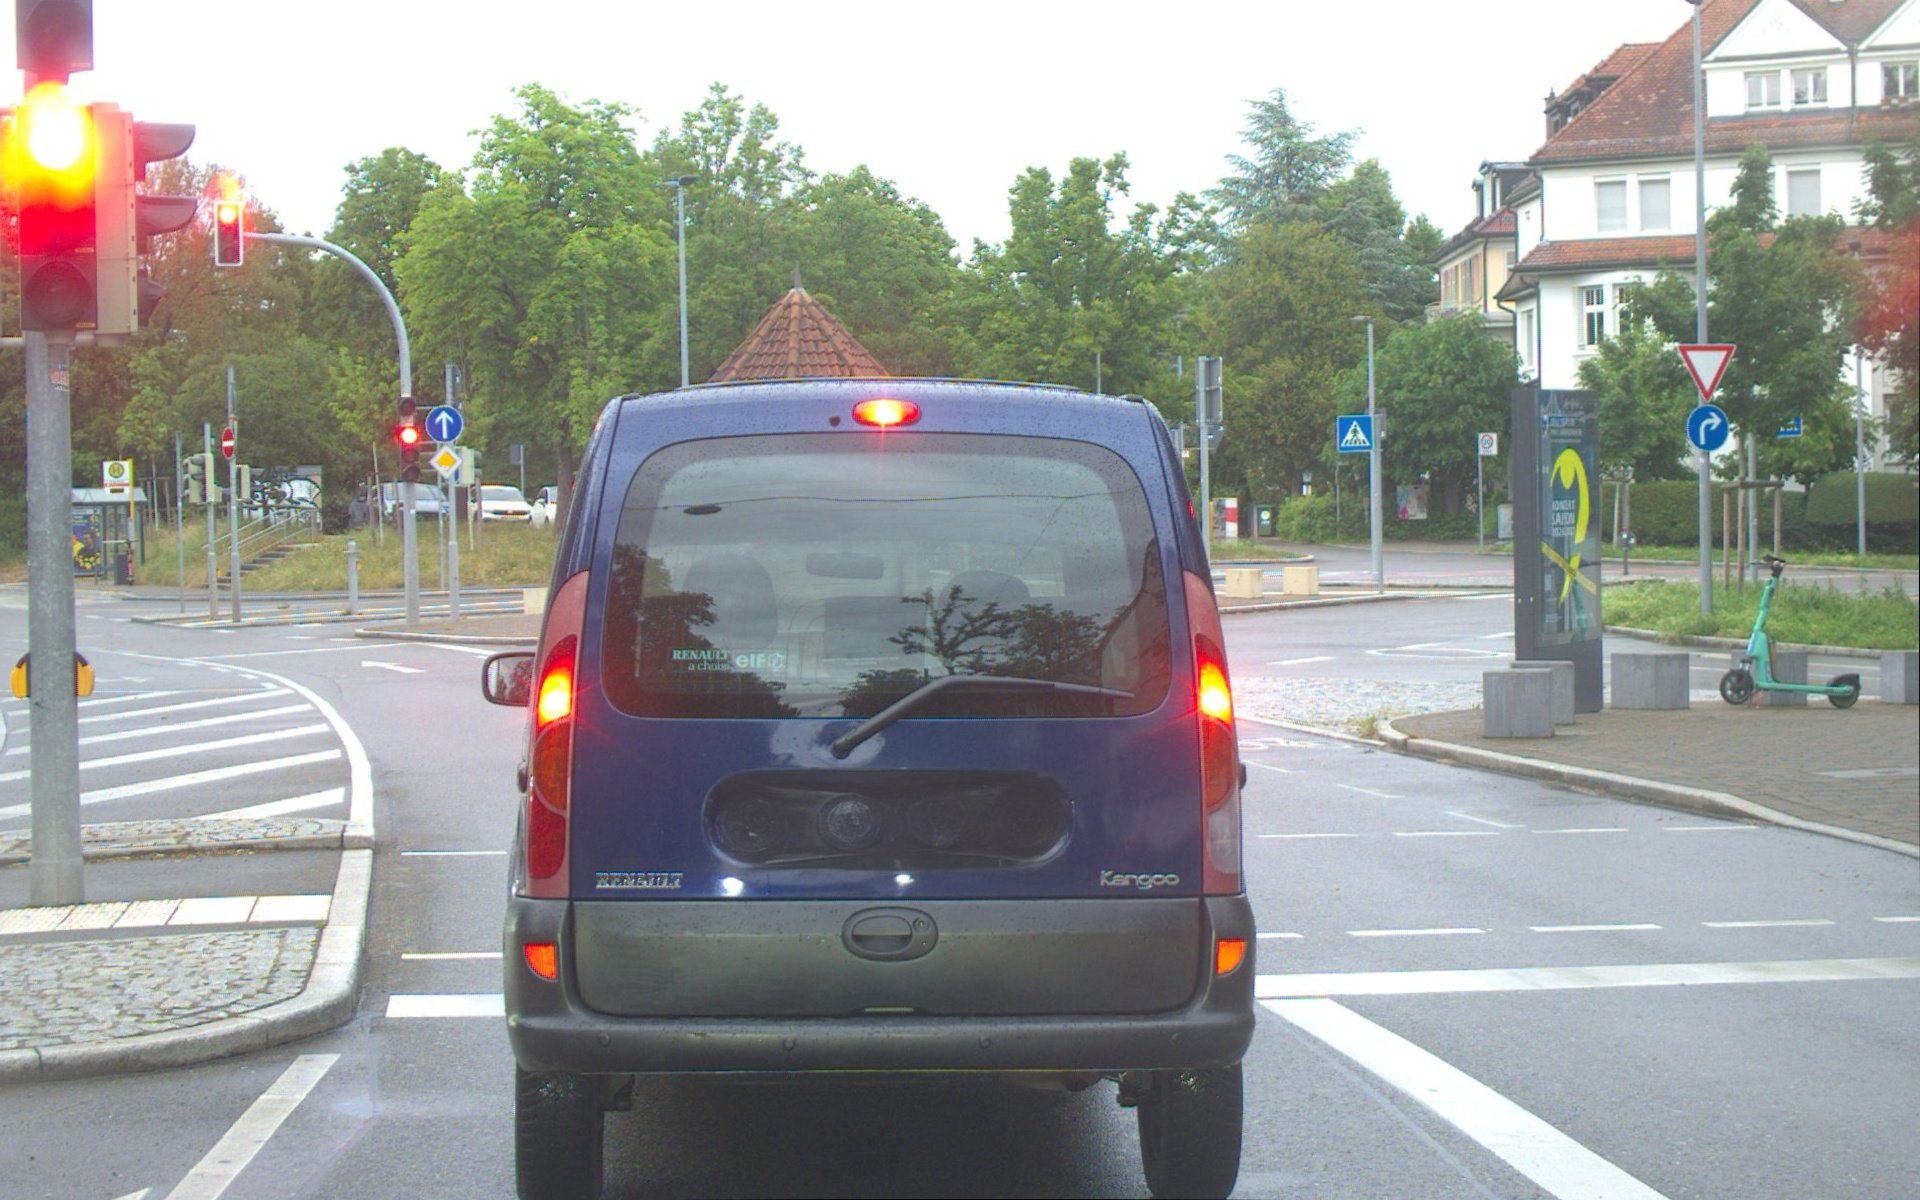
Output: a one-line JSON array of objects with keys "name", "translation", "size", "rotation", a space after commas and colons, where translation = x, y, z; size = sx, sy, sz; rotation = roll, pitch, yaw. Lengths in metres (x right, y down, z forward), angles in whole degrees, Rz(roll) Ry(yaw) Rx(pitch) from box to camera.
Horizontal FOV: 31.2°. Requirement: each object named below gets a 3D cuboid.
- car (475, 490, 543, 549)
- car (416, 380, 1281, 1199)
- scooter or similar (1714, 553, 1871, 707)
[{"name": "car", "translation": [-14.395, -2.543, 109.939], "size": [1.993, 1.806, 4.001], "rotation": [0, 0, -5]}, {"name": "car", "translation": [-0.304, 0.406, 8.896], "size": [1.731, 1.780, 4.001], "rotation": [0, 1, -2]}, {"name": "scooter or similar", "translation": [6.721, 0.240, 27.769], "size": [1.149, 1.214, 0.406], "rotation": [-1, 0, -1]}]
